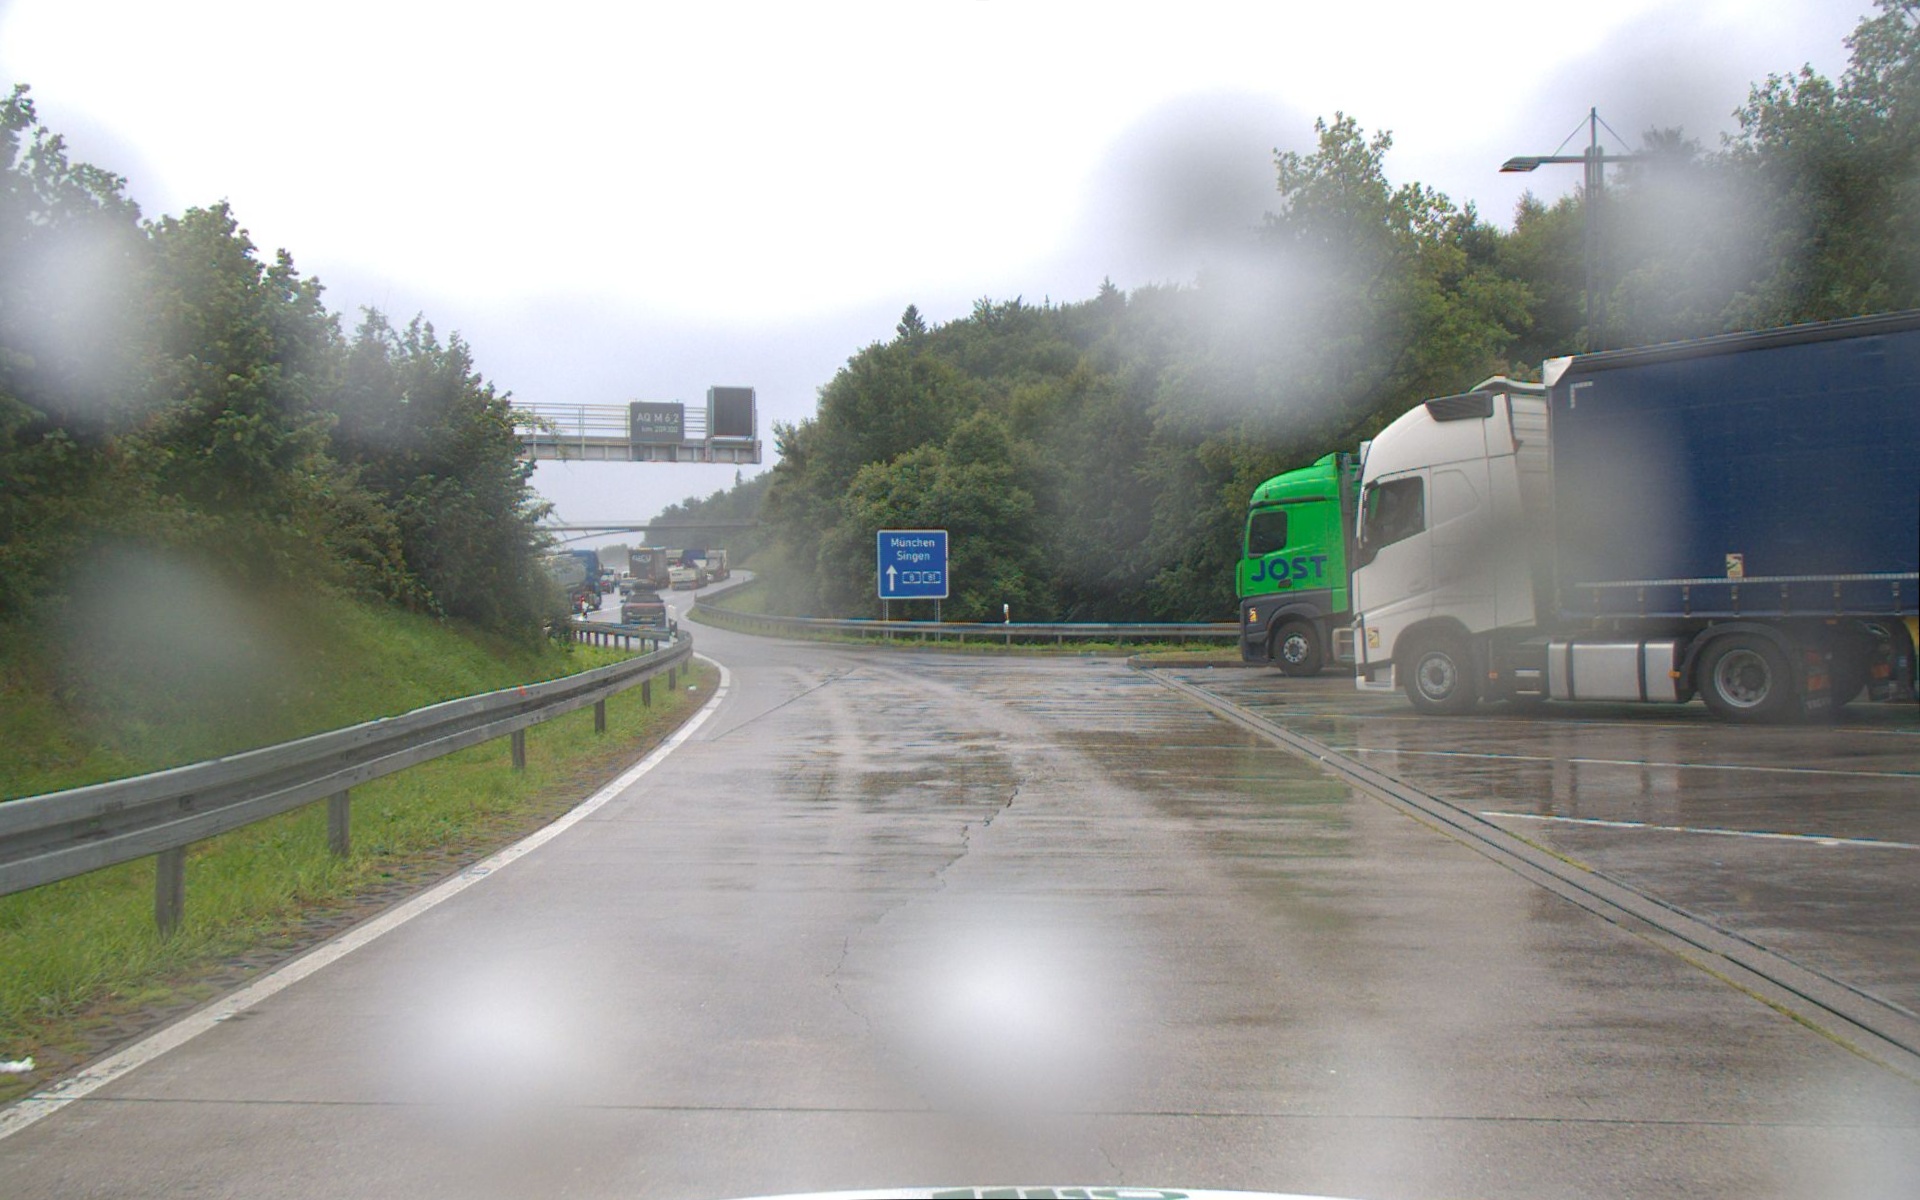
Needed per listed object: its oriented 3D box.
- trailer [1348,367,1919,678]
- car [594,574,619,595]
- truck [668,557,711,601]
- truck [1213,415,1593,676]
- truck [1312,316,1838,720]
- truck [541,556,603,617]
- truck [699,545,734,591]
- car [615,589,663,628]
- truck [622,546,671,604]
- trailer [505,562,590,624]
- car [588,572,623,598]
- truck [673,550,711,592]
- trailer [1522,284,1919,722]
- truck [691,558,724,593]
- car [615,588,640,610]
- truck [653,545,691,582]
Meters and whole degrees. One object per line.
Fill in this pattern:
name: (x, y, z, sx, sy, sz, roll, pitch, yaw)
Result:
trailer: (12.621, -1.030, 24.880, 2.807, 4.222, 13.734, -2, 0, -45)
car: (-33.820, -1.455, 158.430, 1.762, 1.937, 3.996, -2, 0, -5)
truck: (-27.011, -2.187, 165.509, 3.531, 4.176, 11.545, -2, 2, -6)
truck: (7.847, -0.831, 29.752, 5.897, 4.222, 2.807, -2, 0, 45)
truck: (7.346, -0.823, 20.154, 2.805, 4.218, 5.217, -2, 0, -44)
truck: (-24.842, -0.917, 106.151, 2.819, 3.757, 5.055, -2, 2, -2)
truck: (-33.035, -4.298, 224.668, 4.253, 5.864, 9.716, 1, 0, -7)
car: (-14.499, 0.379, 74.614, 1.959, 1.665, 3.987, 1, 0, -13)
truck: (-31.625, -2.400, 167.270, 3.681, 5.595, 10.163, 1, 0, -4)
trailer: (-24.604, -0.506, 99.235, 2.816, 3.345, 10.075, -2, 2, -2)
car: (-42.674, -1.786, 199.369, 3.183, 3.055, 6.766, 1, 0, -5)
truck: (-29.327, -3.137, 181.416, 3.440, 4.342, 10.587, 1, 0, -7)
trailer: (12.234, -1.047, 14.951, 2.805, 4.244, 13.770, -2, 0, -43)
truck: (-31.386, -2.959, 205.840, 3.683, 4.040, 11.042, 1, 0, -7)
car: (-29.862, -0.071, 148.662, 1.763, 1.937, 3.995, 1, 0, -6)
truck: (-35.288, -4.445, 203.305, 3.506, 4.167, 10.869, -2, 0, -5)
